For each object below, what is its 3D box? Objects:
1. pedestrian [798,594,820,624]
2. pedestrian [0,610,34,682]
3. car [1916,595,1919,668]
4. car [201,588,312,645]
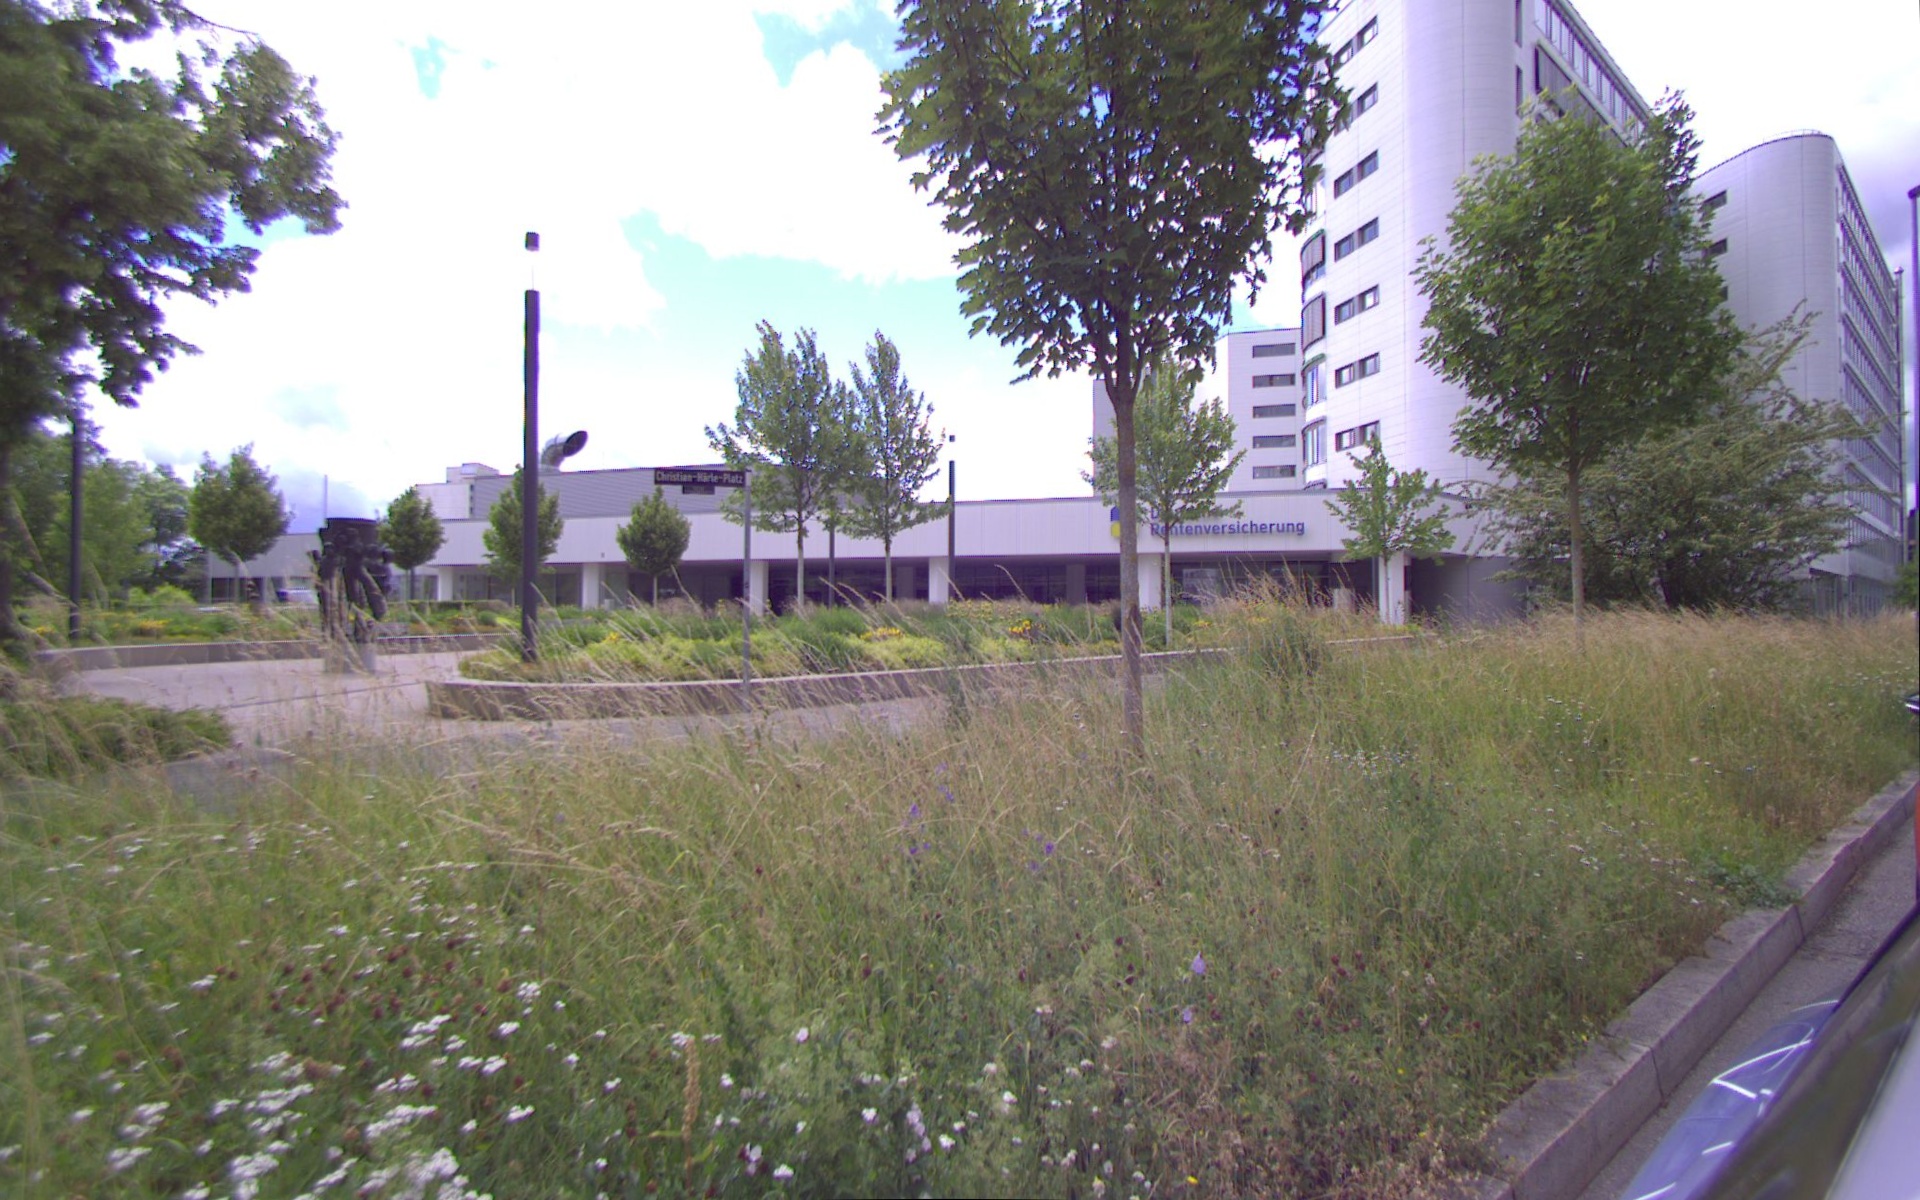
[{"bbox_3d":[-6.780,0.399,45.540,0.869,1.290,0.704,1,0,2],"label":"pedestrian"},{"bbox_3d":[-17.464,0.835,18.672,0.560,1.278,0.581,0,0,-43],"label":"pedestrian"},{"bbox_3d":[22.611,0.700,22.479,3.386,1.594,1.736,0,0,-42],"label":"car"},{"bbox_3d":[-23.379,0.514,33.614,3.470,1.788,1.622,0,0,27],"label":"car"}]
